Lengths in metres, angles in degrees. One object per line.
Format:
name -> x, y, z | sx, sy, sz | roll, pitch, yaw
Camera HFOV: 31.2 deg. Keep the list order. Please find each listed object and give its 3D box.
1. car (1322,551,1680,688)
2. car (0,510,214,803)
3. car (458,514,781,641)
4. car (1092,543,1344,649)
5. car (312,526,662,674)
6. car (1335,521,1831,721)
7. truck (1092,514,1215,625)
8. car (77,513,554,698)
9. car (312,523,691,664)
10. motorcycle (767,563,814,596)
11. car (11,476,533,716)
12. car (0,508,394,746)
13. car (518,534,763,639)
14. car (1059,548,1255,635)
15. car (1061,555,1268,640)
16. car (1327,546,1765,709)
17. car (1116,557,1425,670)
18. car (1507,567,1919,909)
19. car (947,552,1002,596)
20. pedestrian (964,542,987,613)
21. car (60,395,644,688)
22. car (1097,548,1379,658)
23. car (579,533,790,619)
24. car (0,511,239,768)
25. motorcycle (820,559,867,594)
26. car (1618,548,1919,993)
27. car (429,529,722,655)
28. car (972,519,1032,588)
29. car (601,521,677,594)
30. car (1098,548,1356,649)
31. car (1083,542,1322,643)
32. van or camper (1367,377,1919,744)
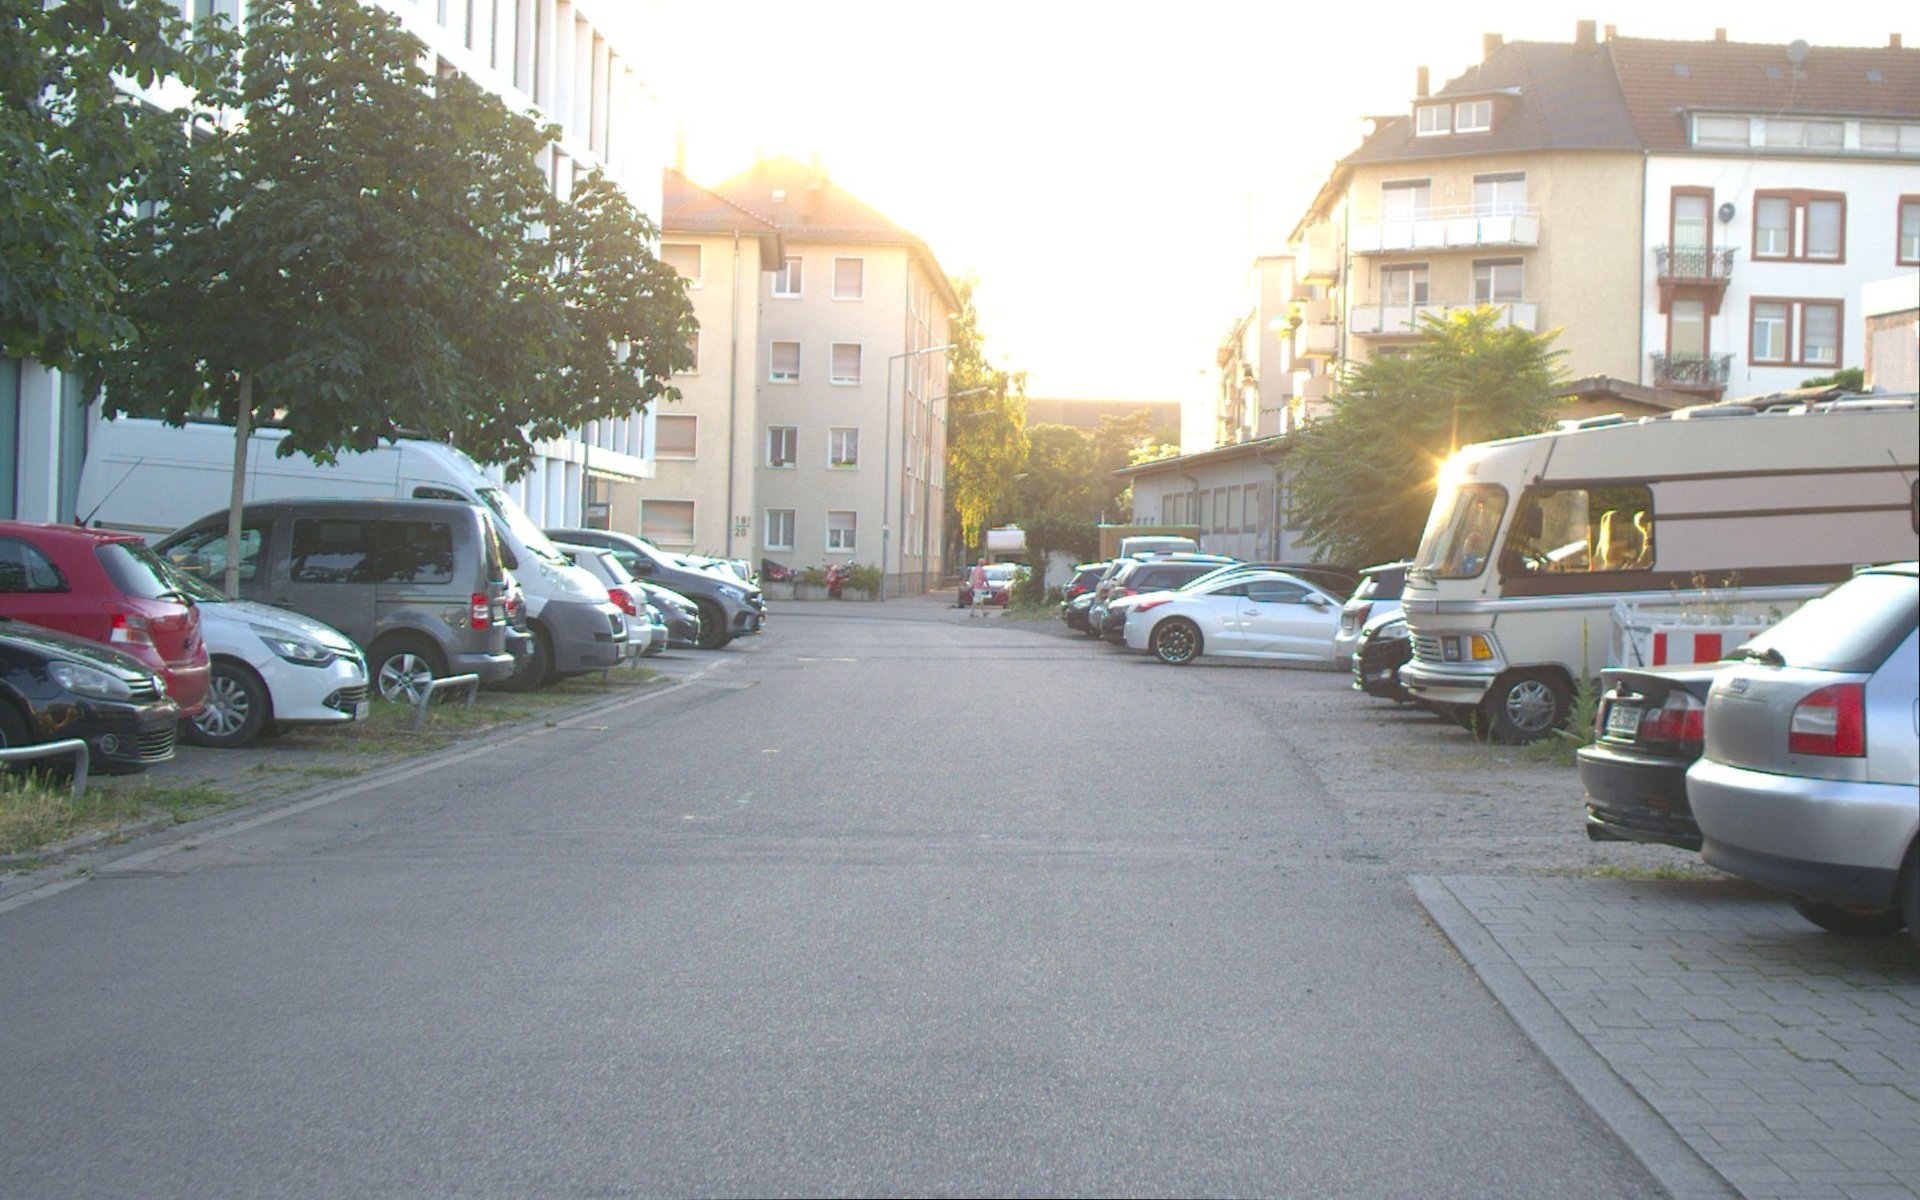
car -> 6.055, 0.206, 38.737 | 3.704, 1.474, 1.712 | 0, 1, -2
car -> -6.457, 0.213, 19.262 | 4.108, 1.513, 1.845 | 3, 1, -1
car -> -5.232, -0.361, 53.165 | 4.619, 1.700, 2.004 | 3, 1, 5
car -> 4.371, -0.079, 58.599 | 3.983, 1.613, 1.827 | 3, 1, -4
car -> -5.385, -0.017, 39.467 | 3.708, 1.490, 1.707 | 3, 1, 1
car -> 5.623, 0.175, 31.476 | 4.241, 1.735, 1.967 | 0, 0, 3
truck -> 4.038, -0.651, 72.670 | 2.097, 2.193, 5.711 | 2, 1, -1
car -> -5.938, 0.032, 32.015 | 4.107, 1.494, 1.775 | 3, 1, -3
car -> -5.588, -0.095, 42.201 | 4.308, 1.490, 1.794 | 3, 1, 3
motorcycle -> -5.684, -0.690, 115.333 | 0.724, 1.075, 2.078 | 2, 1, 23
car -> -5.845, -0.052, 29.587 | 4.107, 1.810, 1.816 | 3, 1, -3
car -> -6.283, 0.137, 24.600 | 4.108, 1.513, 1.780 | 3, 1, 1
car -> -5.165, -0.226, 55.885 | 3.667, 1.506, 1.696 | 3, 1, 5
car -> 3.902, -0.183, 68.560 | 3.759, 1.530, 1.891 | 2, 2, 1
car -> 3.903, -0.048, 66.126 | 3.759, 1.439, 1.845 | 3, 0, -2
car -> 5.815, 0.260, 34.396 | 4.003, 1.558, 1.712 | 0, 1, -5
car -> 4.328, 0.174, 48.377 | 4.203, 1.362, 1.823 | 3, 1, 3
car -> 4.635, 0.543, 14.421 | 4.314, 1.329, 1.896 | 0, 0, -3
car -> 0.524, -0.906, 119.714 | 1.845, 1.468, 4.078 | 1, 1, 1
pedestrian -> 0.442, -0.648, 98.657 | 0.573, 2.007, 0.556 | 2, 1, 2
car -> -6.054, -0.597, 34.667 | 5.381, 2.624, 2.078 | 3, 1, 2
car -> 4.292, 0.053, 53.518 | 4.202, 1.498, 1.890 | 3, 0, 1
car -> -5.425, -0.484, 67.892 | 3.926, 1.506, 1.687 | 3, 1, 2
car -> -6.907, 0.162, 22.043 | 4.108, 1.513, 1.845 | 3, 1, 1
motorcycle -> -3.983, -0.816, 117.773 | 0.689, 1.156, 2.031 | 2, 1, 27
car -> 4.538, 0.534, 12.015 | 4.055, 1.402, 1.896 | 0, 1, -3
car -> -5.223, -0.129, 47.046 | 3.781, 1.517, 1.694 | 3, 1, -1
car -> 2.041, -2.212, 165.009 | 2.620, 3.258, 7.696 | 0, 1, 3
car -> -9.171, -1.248, 98.454 | 1.797, 1.973, 4.690 | 2, 1, -1
car -> 4.313, -0.028, 56.007 | 3.983, 1.440, 1.827 | 3, 0, 0
car -> 4.286, -0.144, 61.208 | 3.983, 1.604, 1.939 | 3, 1, -2
van or camper -> 6.426, -0.309, 28.283 | 5.779, 2.854, 2.487 | 0, 0, -2
